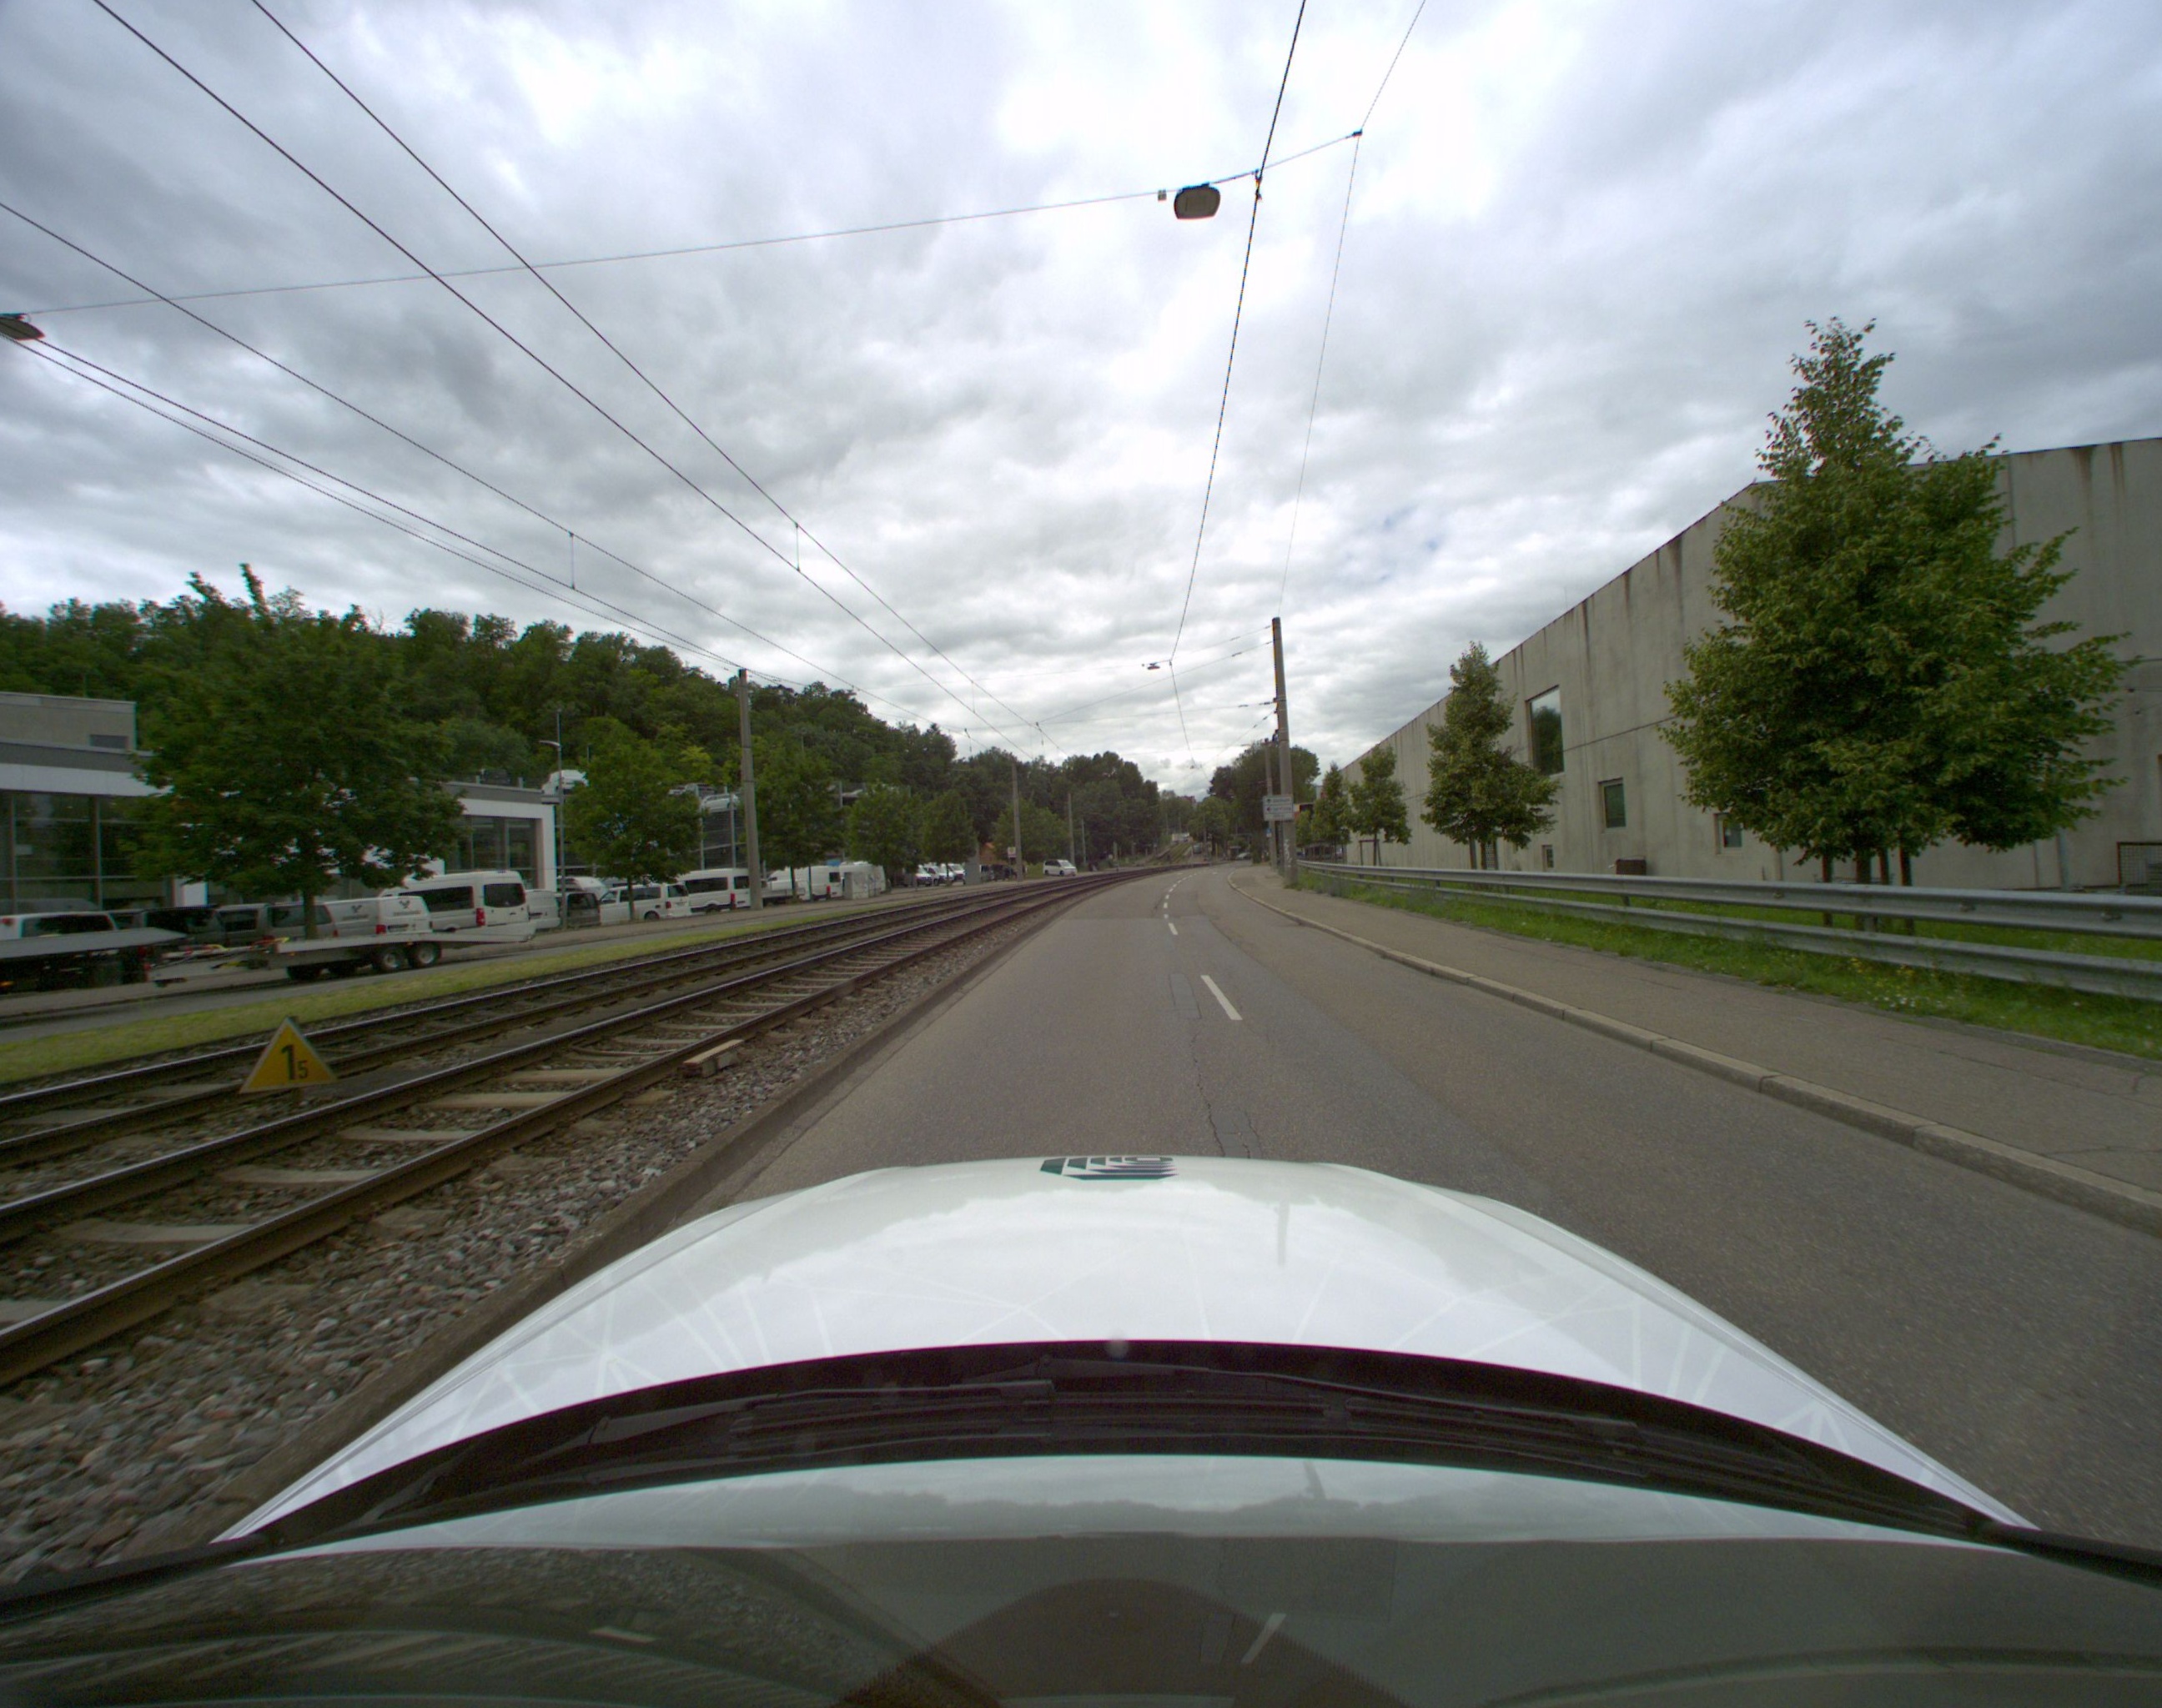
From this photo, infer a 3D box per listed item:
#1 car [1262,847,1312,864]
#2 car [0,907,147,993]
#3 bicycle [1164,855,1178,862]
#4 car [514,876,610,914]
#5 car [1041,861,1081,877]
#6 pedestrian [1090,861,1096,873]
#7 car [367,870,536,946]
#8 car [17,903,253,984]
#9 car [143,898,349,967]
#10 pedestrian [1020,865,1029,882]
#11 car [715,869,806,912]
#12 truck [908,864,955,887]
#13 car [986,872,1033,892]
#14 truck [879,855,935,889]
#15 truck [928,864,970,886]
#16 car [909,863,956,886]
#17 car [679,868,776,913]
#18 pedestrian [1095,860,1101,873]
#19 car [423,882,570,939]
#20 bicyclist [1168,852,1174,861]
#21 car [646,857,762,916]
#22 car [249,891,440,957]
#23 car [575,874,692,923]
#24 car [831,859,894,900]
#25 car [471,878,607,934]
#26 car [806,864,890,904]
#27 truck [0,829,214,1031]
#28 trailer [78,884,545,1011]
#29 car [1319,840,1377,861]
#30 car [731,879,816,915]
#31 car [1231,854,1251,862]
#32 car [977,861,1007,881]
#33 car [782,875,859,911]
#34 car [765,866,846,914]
[{"bbox_3d":[19.329,0.139,76.584,4.179,1.443,1.774,-3,0,40],"label":"car"},{"bbox_3d":[-23.892,2.150,18.148,4.338,1.618,2.010,-3,0,10],"label":"car"},{"bbox_3d":[19.476,1.058,176.370,2.983,1.343,0.825,-3,-1,-6],"label":"bicycle"},{"bbox_3d":[-31.489,2.485,49.448,4.809,2.013,2.007,-3,-1,13],"label":"car"},{"bbox_3d":[-2.398,1.770,97.935,2.177,1.888,5.014,-1,0,-38],"label":"car"},{"bbox_3d":[1.722,1.869,117.088,0.623,1.713,0.859,-1,0,14],"label":"pedestrian"},{"bbox_3d":[-21.658,1.842,28.096,4.466,2.311,2.132,-3,0,12],"label":"car"},{"bbox_3d":[-23.986,2.243,20.709,4.336,1.686,2.011,-3,0,12],"label":"car"},{"bbox_3d":[-23.656,2.198,23.128,4.336,1.618,2.011,-3,0,12],"label":"car"},{"bbox_3d":[-5.597,1.965,80.743,0.715,1.655,1.044,-1,0,4],"label":"pedestrian"},{"bbox_3d":[-18.508,2.096,47.124,4.342,2.173,2.008,-3,0,7],"label":"car"},{"bbox_3d":[-19.140,2.772,104.283,5.703,2.588,2.485,-4,-1,36],"label":"truck"},{"bbox_3d":[-8.493,3.288,96.426,5.082,2.013,2.148,-3,-1,-26],"label":"car"},{"bbox_3d":[-17.126,1.799,80.051,5.862,3.085,2.133,-4,-1,40],"label":"truck"},{"bbox_3d":[-17.330,2.745,106.558,5.006,2.588,2.485,-4,-1,36],"label":"truck"},{"bbox_3d":[-14.967,2.098,82.059,4.669,2.013,2.013,-4,-1,38],"label":"car"},{"bbox_3d":[-19.414,1.973,44.828,4.342,2.173,2.008,-3,0,7],"label":"car"},{"bbox_3d":[2.425,1.803,116.928,0.671,1.813,0.859,-1,0,14],"label":"pedestrian"},{"bbox_3d":[-21.975,2.116,30.670,4.336,1.845,2.011,-3,0,12],"label":"car"},{"bbox_3d":[19.407,0.496,176.353,1.046,1.849,0.822,-3,-1,-5],"label":"bicyclist"},{"bbox_3d":[-19.452,1.663,42.188,4.939,2.698,2.119,-3,0,7],"label":"car"},{"bbox_3d":[-22.904,2.153,25.425,4.341,1.688,2.036,-3,0,8],"label":"car"},{"bbox_3d":[-20.909,2.058,38.126,4.342,2.010,2.008,-3,0,7],"label":"car"},{"bbox_3d":[-17.445,1.979,65.436,2.093,3.019,5.958,-3,0,13],"label":"car"},{"bbox_3d":[-21.840,2.064,32.883,4.336,1.947,2.011,-3,0,12],"label":"car"},{"bbox_3d":[-17.174,2.229,60.134,5.437,2.602,2.254,-3,0,11],"label":"car"},{"bbox_3d":[-16.403,1.156,9.017,2.740,2.741,9.241,-5,-1,9],"label":"truck"},{"bbox_3d":[-15.127,1.699,16.992,2.368,1.698,6.965,-5,-1,9],"label":"trailer"},{"bbox_3d":[24.381,-0.279,74.501,4.511,1.548,2.151,-4,-2,-13],"label":"car"},{"bbox_3d":[-18.867,2.630,50.124,4.342,1.910,2.008,-3,0,7],"label":"car"},{"bbox_3d":[32.924,0.800,167.563,1.671,1.532,4.281,-8,-5,44],"label":"car"},{"bbox_3d":[-9.949,1.936,91.484,1.981,2.013,5.144,-3,0,10],"label":"car"},{"bbox_3d":[-17.380,2.616,54.419,4.342,2.105,2.008,-3,0,7],"label":"car"},{"bbox_3d":[-17.661,2.287,52.315,4.342,2.819,2.008,-3,-1,7],"label":"car"}]
